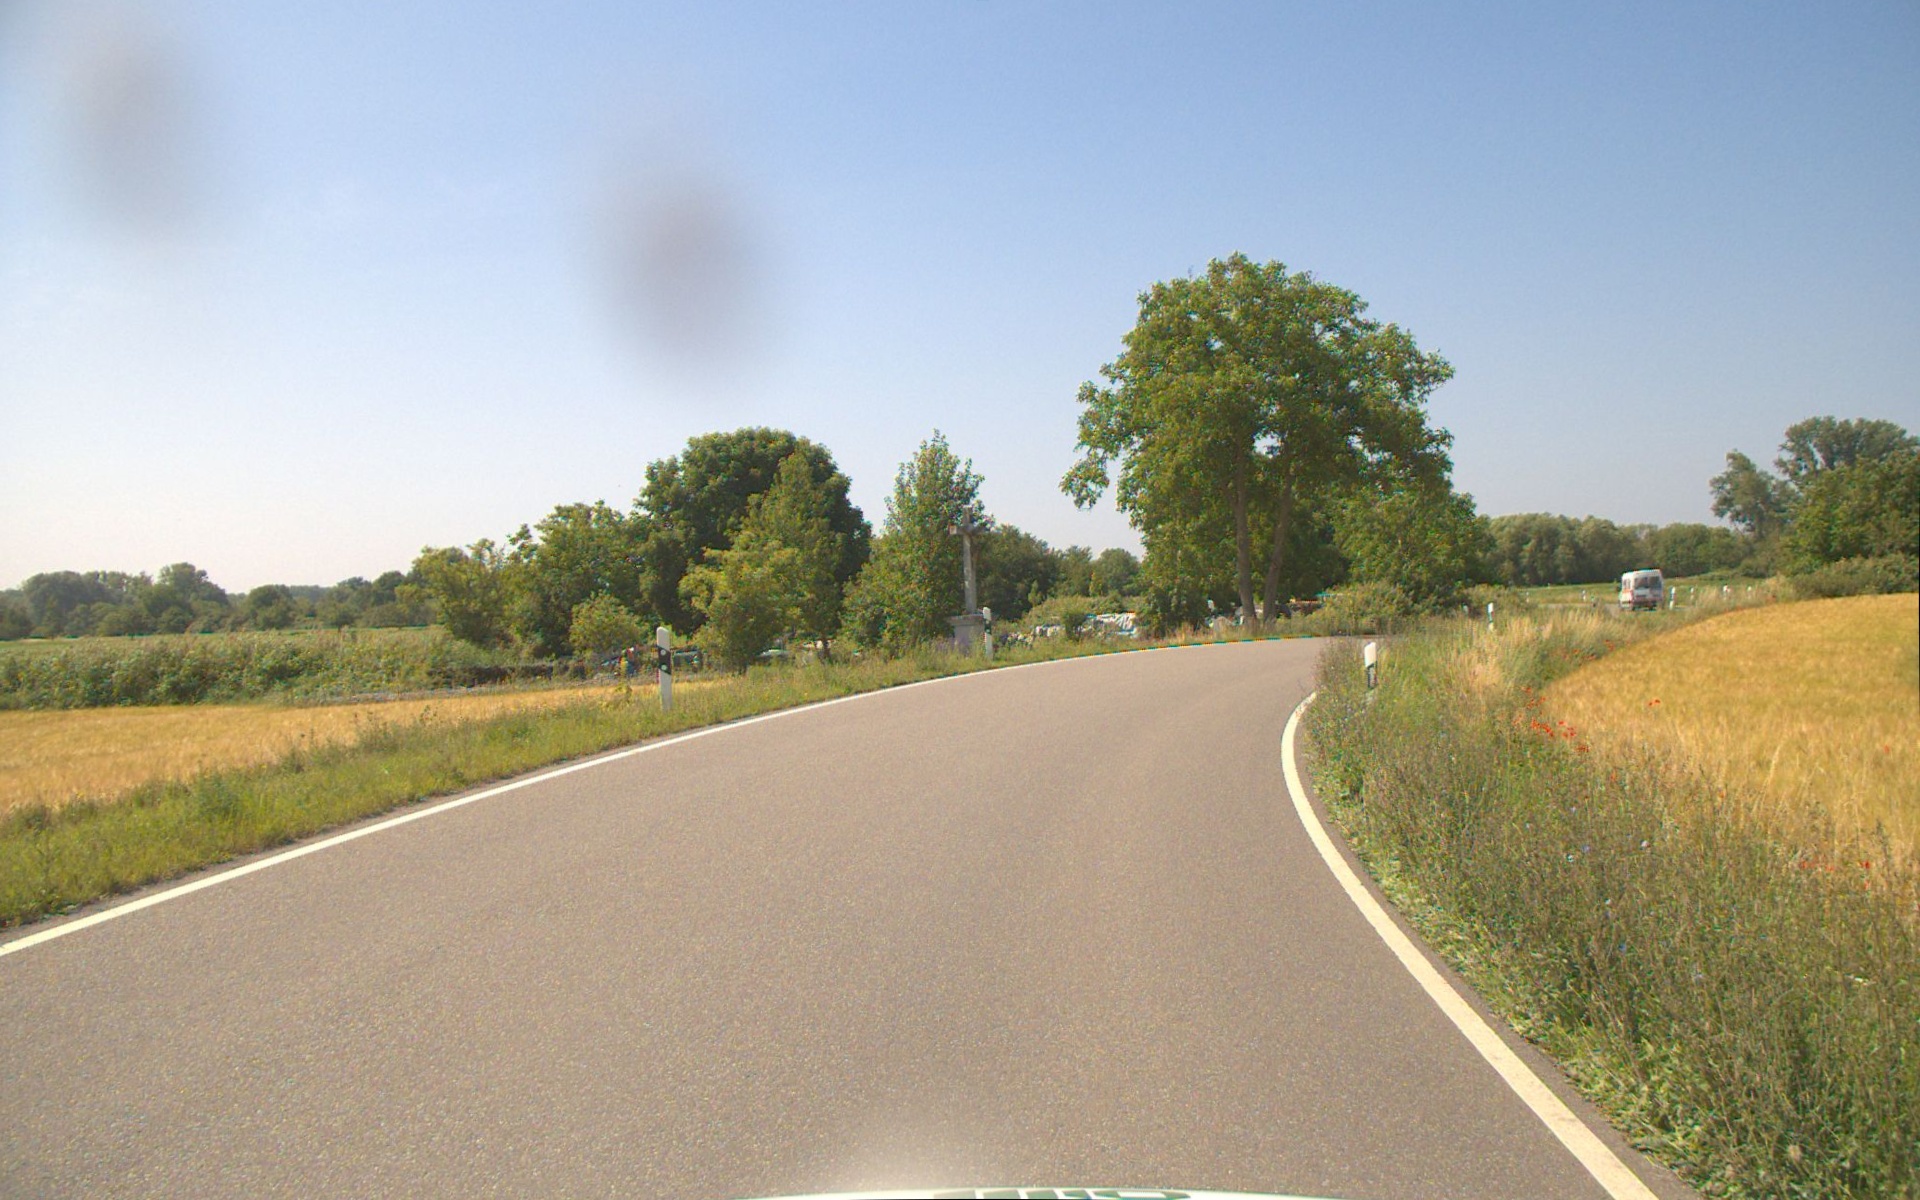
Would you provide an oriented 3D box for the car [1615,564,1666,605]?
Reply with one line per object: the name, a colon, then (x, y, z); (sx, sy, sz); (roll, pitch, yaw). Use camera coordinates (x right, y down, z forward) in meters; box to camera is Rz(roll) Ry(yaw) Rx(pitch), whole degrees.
car: (42.879, -1.013, 104.262); (2.059, 2.408, 5.692); (-2, 0, 14)
